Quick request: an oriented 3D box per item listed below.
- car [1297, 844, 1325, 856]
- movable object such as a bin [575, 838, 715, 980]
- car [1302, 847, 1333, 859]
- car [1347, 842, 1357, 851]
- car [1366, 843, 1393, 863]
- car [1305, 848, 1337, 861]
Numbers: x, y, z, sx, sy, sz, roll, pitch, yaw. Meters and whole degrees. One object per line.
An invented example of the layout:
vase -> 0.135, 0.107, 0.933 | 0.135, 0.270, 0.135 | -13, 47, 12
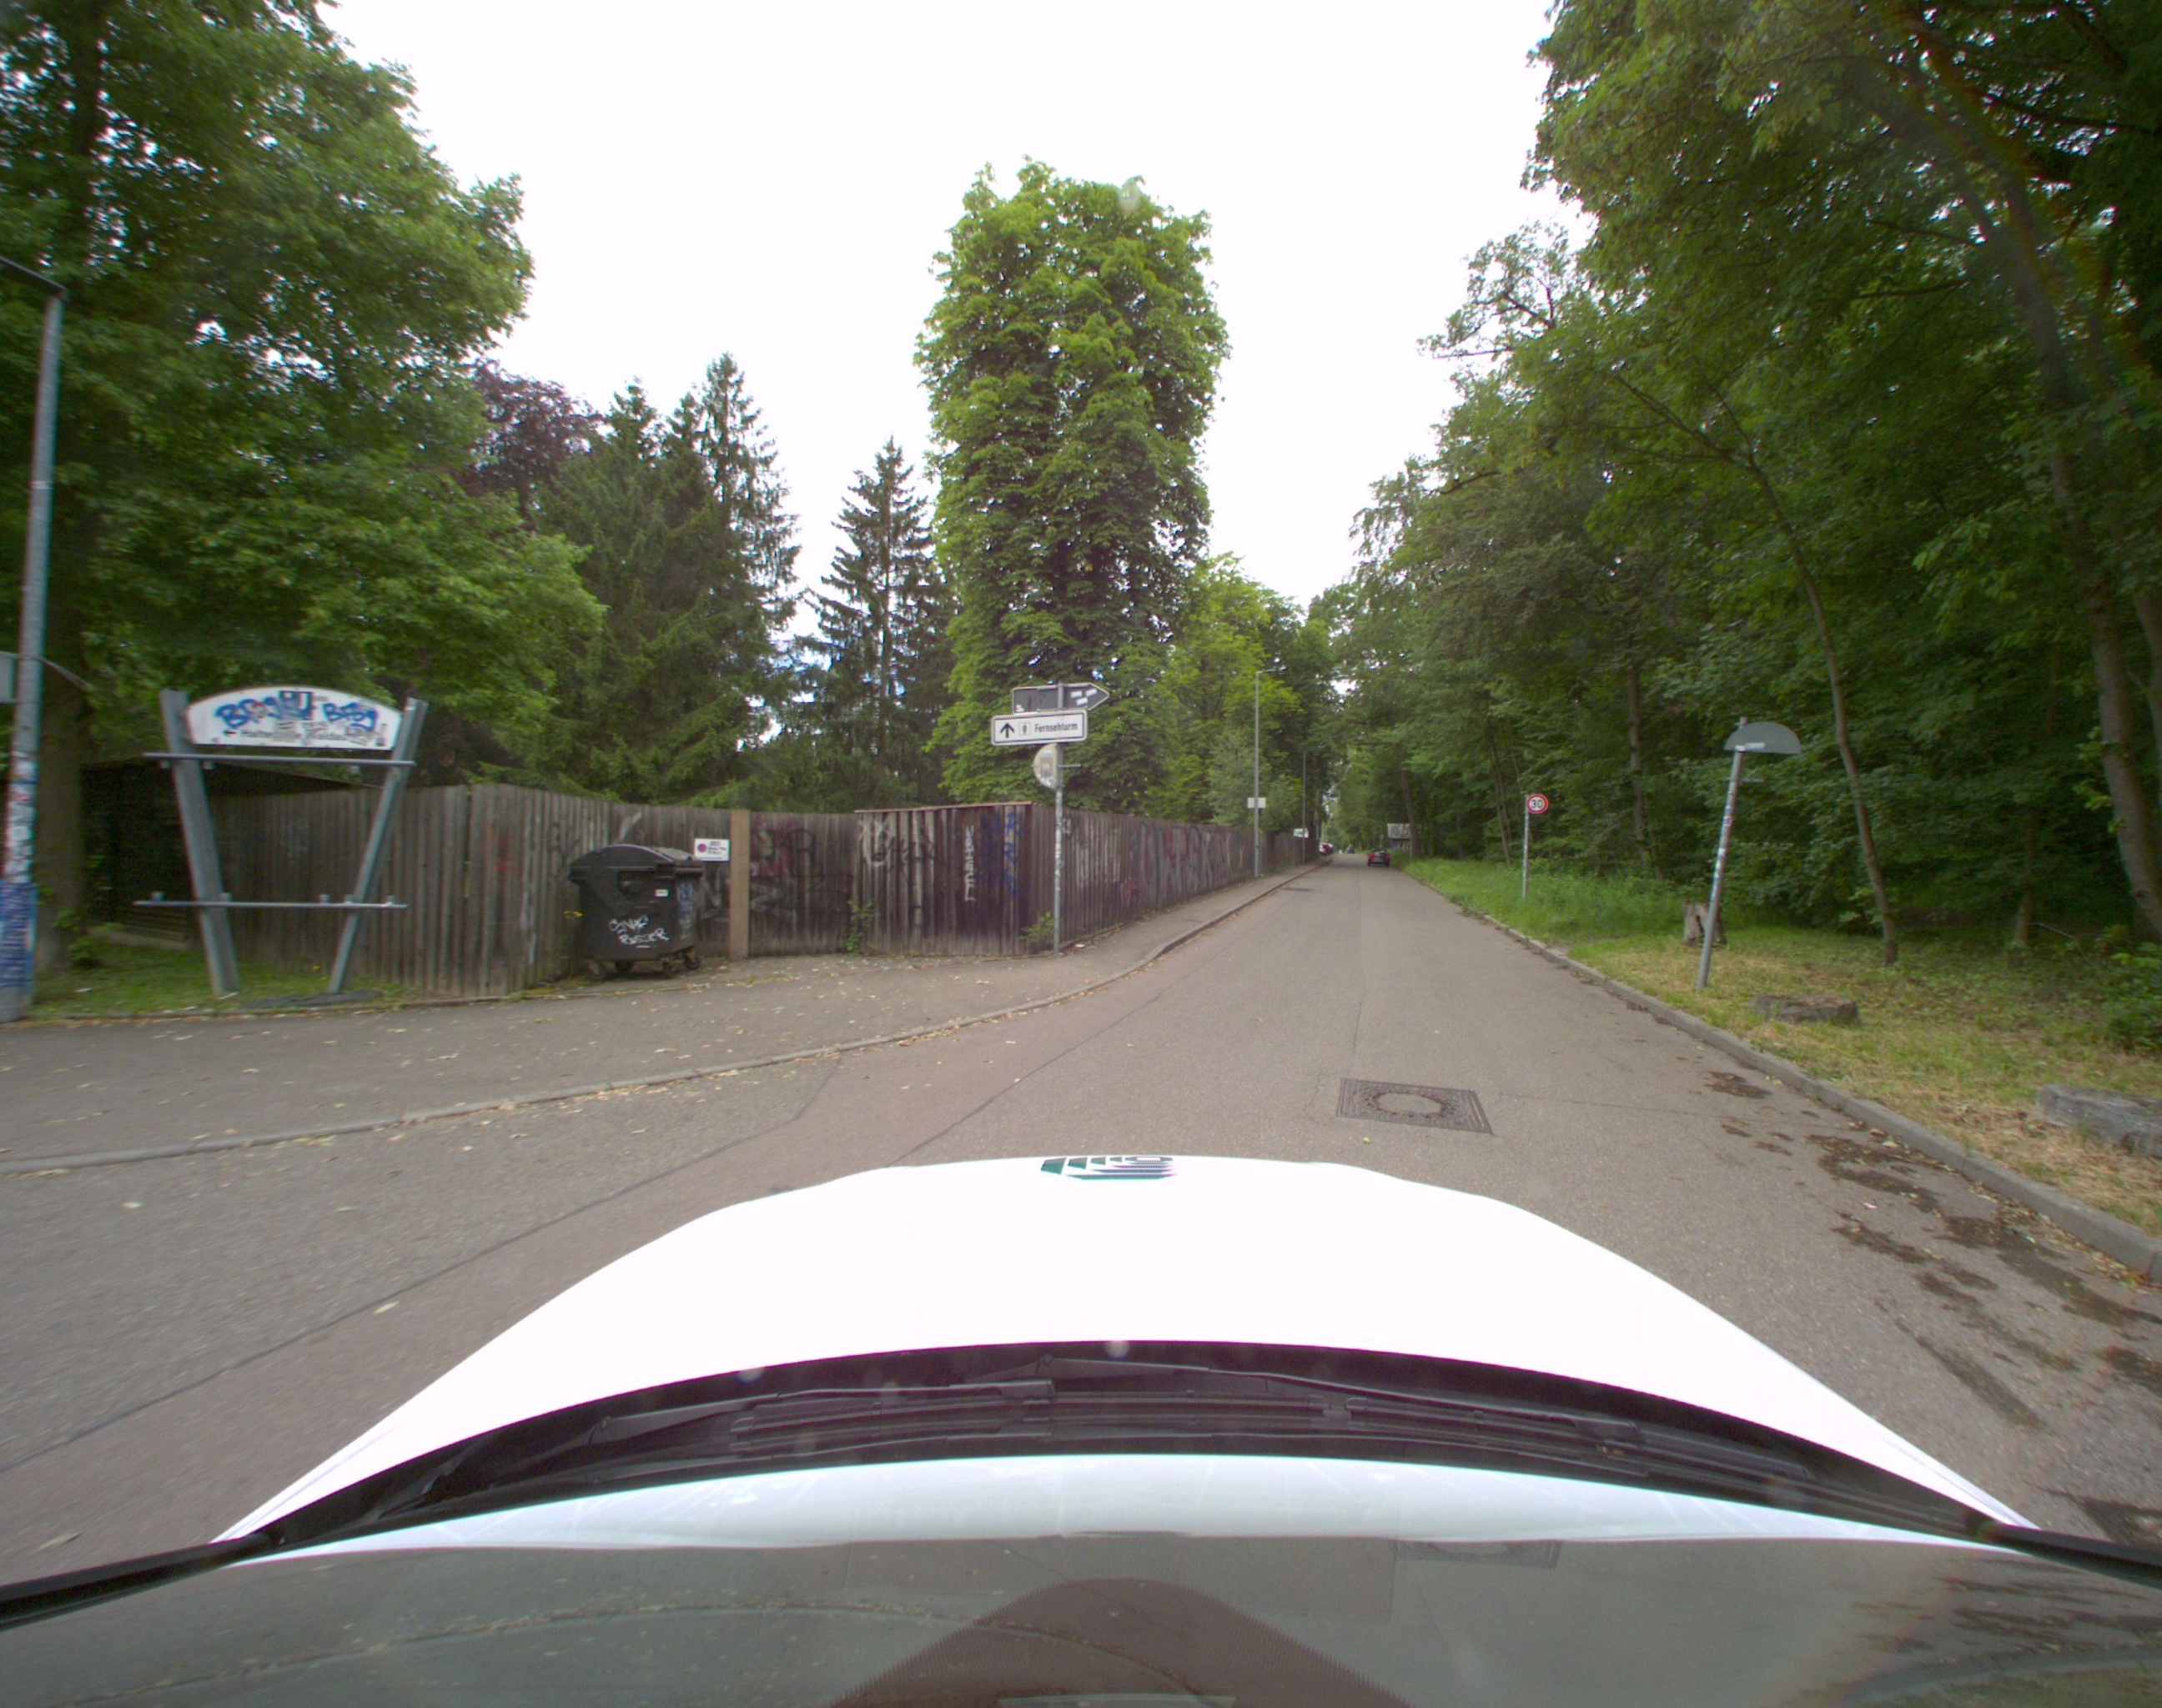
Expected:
car -> 33.962, -0.561, 120.121 | 3.957, 1.750, 2.008 | 1, 0, 15
movable object such as a bin -> -4.777, 0.563, 9.048 | 1.077, 1.442, 1.279 | 0, -1, -14
car -> 31.816, -0.177, 109.545 | 3.957, 1.574, 2.008 | 1, 1, 15
car -> 65.344, -1.788, 196.415 | 1.979, 2.013, 4.015 | 1, 0, 14
car -> 24.325, -0.057, 66.387 | 1.892, 1.508, 4.020 | 4, 1, 20
car -> 31.589, 0.095, 107.145 | 3.957, 1.574, 2.008 | 1, 0, 15
